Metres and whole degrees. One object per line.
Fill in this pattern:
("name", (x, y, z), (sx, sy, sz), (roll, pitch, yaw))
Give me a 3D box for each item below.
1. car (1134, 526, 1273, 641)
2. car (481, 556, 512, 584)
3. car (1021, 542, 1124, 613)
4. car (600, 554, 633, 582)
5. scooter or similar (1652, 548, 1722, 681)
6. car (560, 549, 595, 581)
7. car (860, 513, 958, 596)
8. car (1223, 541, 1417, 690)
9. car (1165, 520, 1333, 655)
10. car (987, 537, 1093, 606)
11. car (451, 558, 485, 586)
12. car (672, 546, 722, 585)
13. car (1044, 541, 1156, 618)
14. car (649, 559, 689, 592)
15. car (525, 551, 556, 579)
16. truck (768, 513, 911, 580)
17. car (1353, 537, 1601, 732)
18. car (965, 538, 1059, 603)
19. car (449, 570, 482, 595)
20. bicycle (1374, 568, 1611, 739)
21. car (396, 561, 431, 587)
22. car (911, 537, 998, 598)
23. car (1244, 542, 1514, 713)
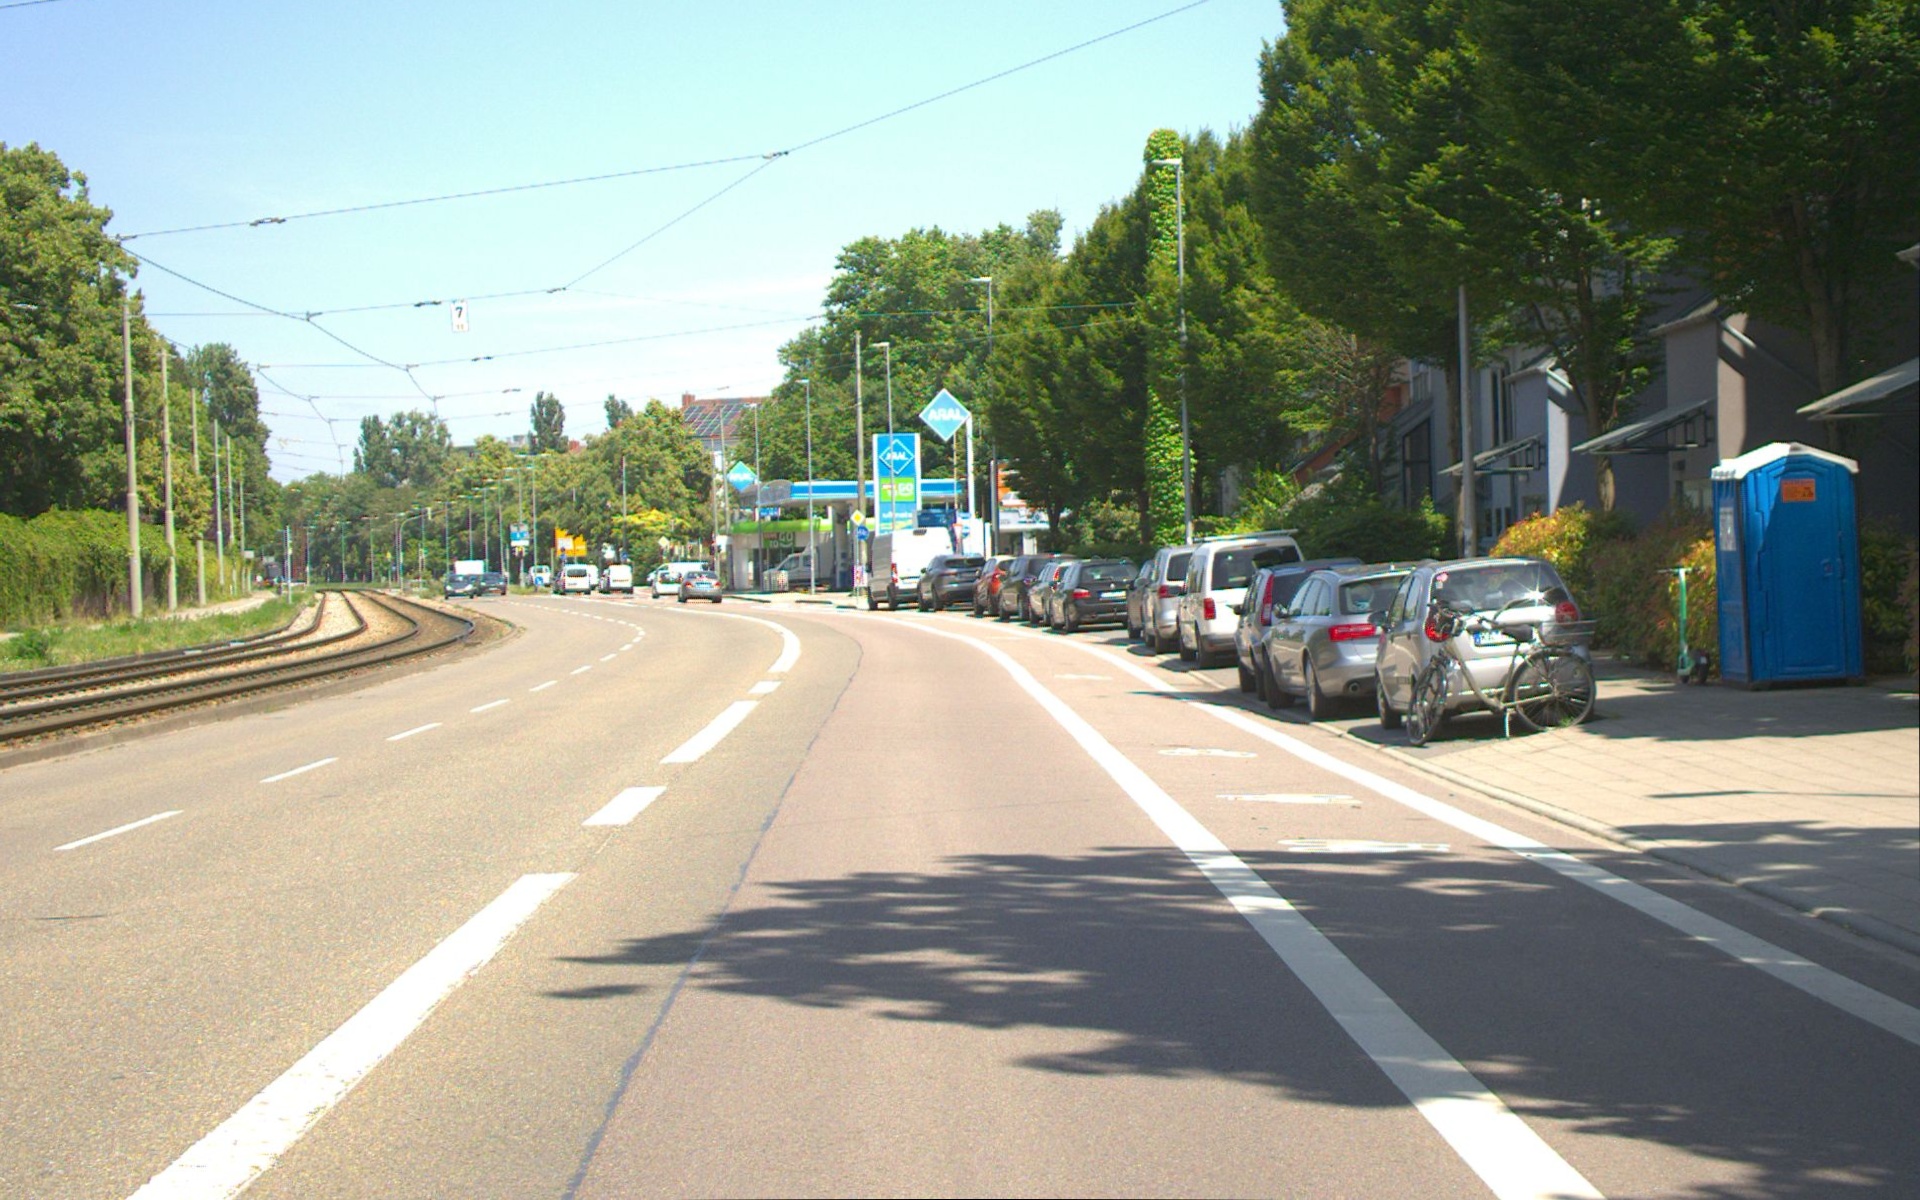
("car", (3.976, -0.313, 56.756), (1.840, 1.688, 4.779), (-4, 1, 0))
("car", (-29.921, -1.939, 221.776), (1.755, 1.625, 4.325), (-4, 1, -10))
("car", (2.566, -0.537, 79.594), (1.706, 1.487, 4.732), (-4, 1, -5))
("car", (-22.011, -2.044, 220.147), (1.755, 1.625, 4.325), (-4, 1, -10))
("scooter or similar", (7.126, 0.129, 33.738), (0.384, 1.275, 1.339), (0, 1, -1))
("car", (-23.775, -2.158, 213.616), (1.755, 1.868, 4.325), (-4, 1, -10))
("car", (-1.672, -1.459, 110.688), (2.000, 2.448, 6.111), (-4, 1, -11))
("car", (4.195, 0.142, 40.634), (1.841, 1.524, 4.216), (-4, 1, 1))
("car", (4.198, -0.222, 50.572), (1.840, 1.788, 4.354), (-4, 1, -2))
("car", (1.938, -0.711, 84.783), (1.706, 1.557, 4.325), (-4, 1, -10))
("car", (-29.151, -1.662, 203.594), (1.755, 1.504, 4.325), (-4, 1, -10))
("car", (-11.766, -1.542, 153.558), (1.755, 1.625, 4.325), (-4, 1, -10))
("car", (2.955, -0.470, 73.609), (1.706, 1.487, 5.039), (-4, 1, -5))
("car", (-15.659, -1.318, 184.880), (1.755, 1.625, 4.325), (-4, 1, -8))
("car", (-26.418, -2.229, 216.195), (1.755, 1.625, 4.325), (-4, 1, -8))
("truck", (-6.833, -3.028, 194.754), (7.967, 3.590, 2.663), (-1, 1, -3))
("car", (4.531, 0.253, 30.590), (1.519, 1.524, 3.817), (-4, 1, 0))
("car", (1.341, -0.794, 90.696), (1.706, 1.557, 4.325), (-4, 1, -8))
("car", (-35.068, -1.269, 243.720), (1.755, 1.625, 4.325), (-4, 1, -15))
("bicycle", (4.411, 0.439, 28.553), (1.774, 1.224, 0.683), (-6, 0, 4))
("car", (-36.583, -1.748, 230.069), (1.755, 1.625, 4.325), (-4, 1, -15))
("car", (-0.177, -0.964, 100.665), (1.755, 1.625, 4.325), (-4, 1, -10))
("car", (4.246, 0.223, 35.598), (1.840, 1.524, 4.967), (-4, 1, -3))
